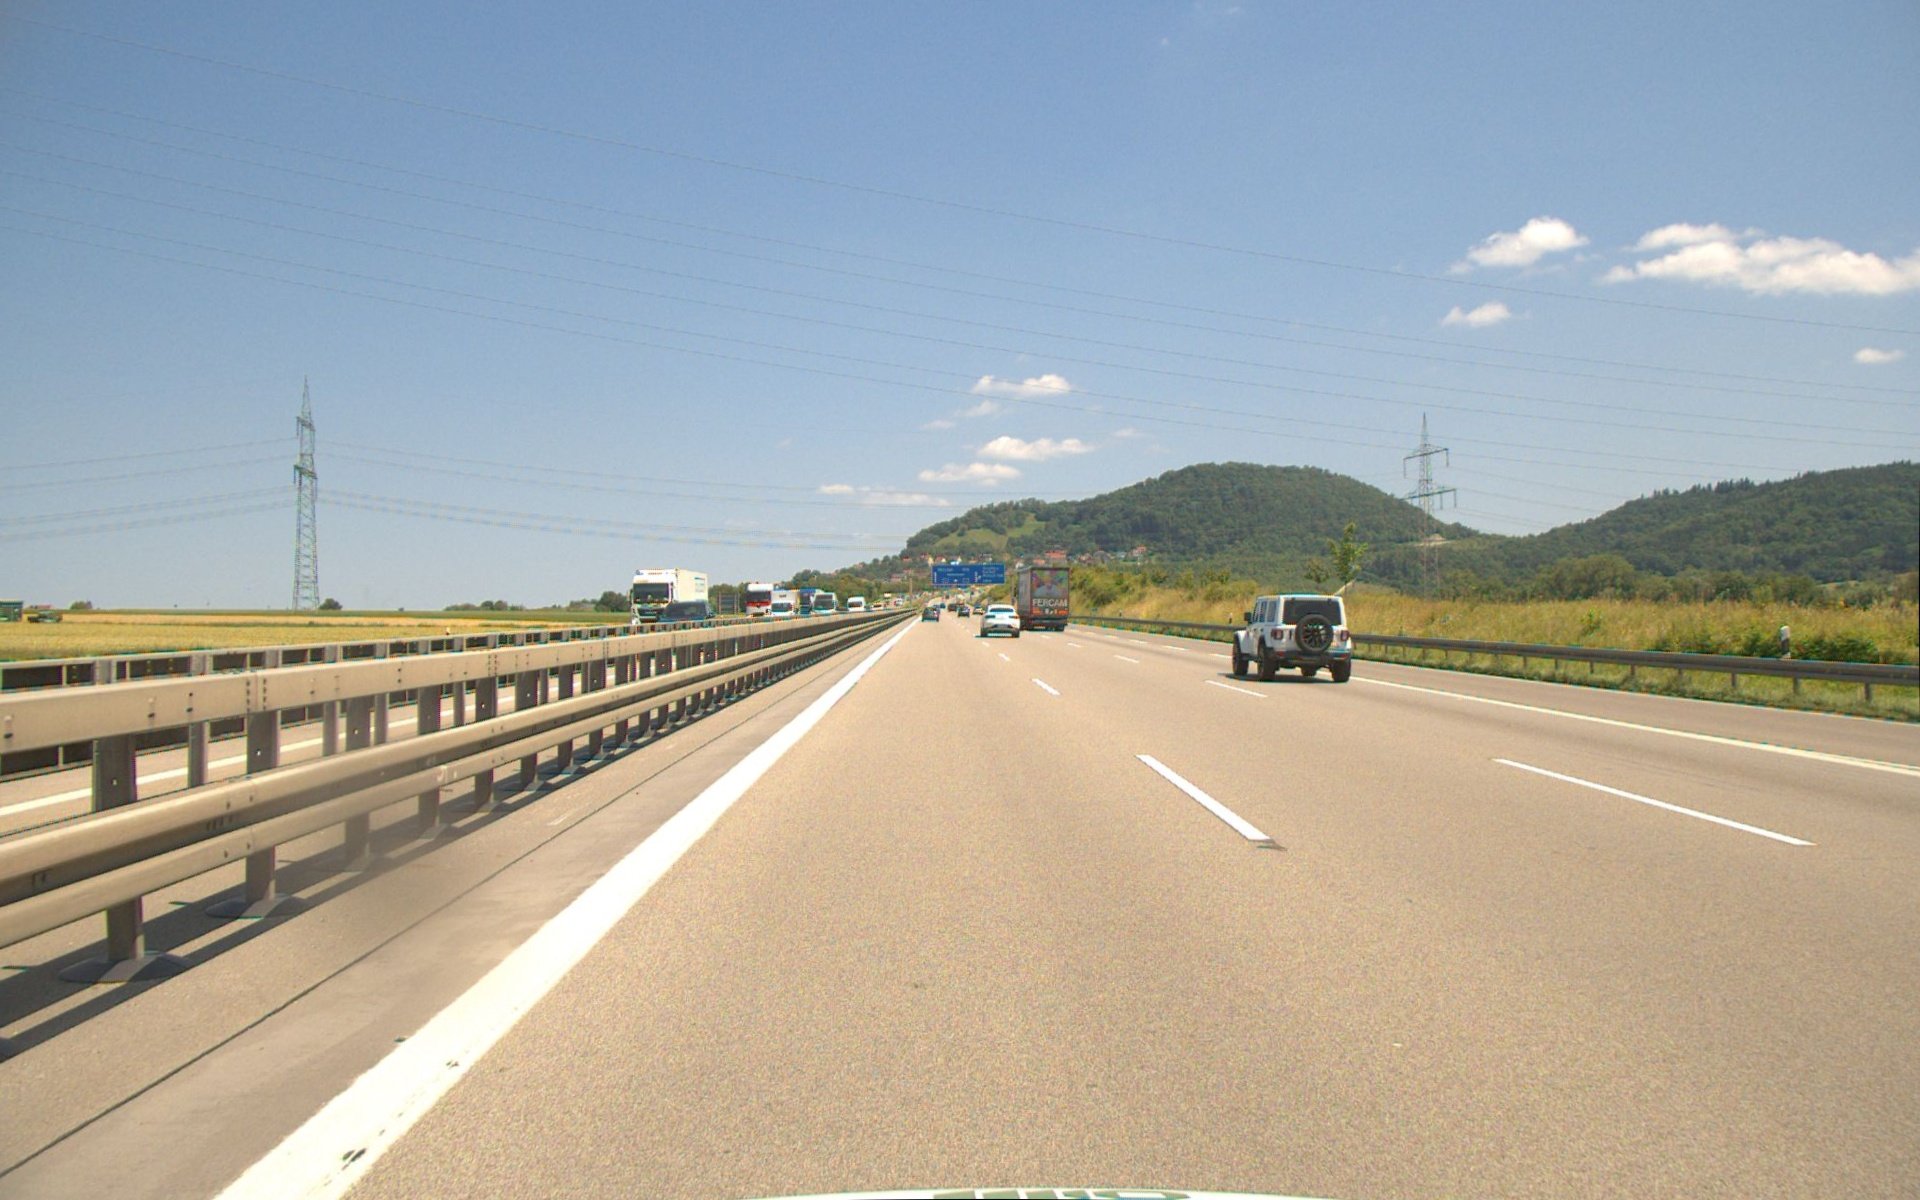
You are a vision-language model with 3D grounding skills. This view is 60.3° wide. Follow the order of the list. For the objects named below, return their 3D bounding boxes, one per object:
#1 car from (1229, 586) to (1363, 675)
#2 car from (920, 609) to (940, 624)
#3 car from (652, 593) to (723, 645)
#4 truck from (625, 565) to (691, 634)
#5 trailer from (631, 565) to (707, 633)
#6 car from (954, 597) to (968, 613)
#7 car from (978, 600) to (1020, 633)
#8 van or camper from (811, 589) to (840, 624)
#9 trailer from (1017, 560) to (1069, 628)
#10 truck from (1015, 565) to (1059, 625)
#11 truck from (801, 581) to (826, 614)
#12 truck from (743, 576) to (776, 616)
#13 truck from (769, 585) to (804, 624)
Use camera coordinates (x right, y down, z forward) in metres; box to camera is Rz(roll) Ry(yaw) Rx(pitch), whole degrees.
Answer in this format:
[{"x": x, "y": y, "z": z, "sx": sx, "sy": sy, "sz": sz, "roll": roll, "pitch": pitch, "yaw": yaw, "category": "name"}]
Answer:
[{"x": 7.437, "y": 0.643, "z": 37.044, "sx": 1.993, "sy": 1.836, "sz": 4.249, "roll": -1, "pitch": 0, "yaw": -2, "category": "car"}, {"x": -2.912, "y": 1.602, "z": 161.457, "sx": 1.953, "sy": 1.413, "sz": 3.999, "roll": 1, "pitch": 0, "yaw": 0, "category": "car"}, {"x": -9.592, "y": 0.660, "z": 58.497, "sx": 1.773, "sy": 1.669, "sz": 4.427, "roll": -2, "pitch": 0, "yaw": -1, "category": "car"}, {"x": -18.207, "y": -0.018, "z": 100.121, "sx": 2.880, "sy": 3.999, "sz": 6.475, "roll": 1, "pitch": 0, "yaw": -2, "category": "truck"}, {"x": -18.364, "y": -0.015, "z": 105.389, "sx": 2.898, "sy": 3.986, "sz": 12.889, "roll": 1, "pitch": 0, "yaw": -2, "category": "trailer"}, {"x": 0.099, "y": 0.687, "z": 228.255, "sx": 1.953, "sy": 2.049, "sz": 3.999, "roll": 1, "pitch": 0, "yaw": 0, "category": "car"}, {"x": 1.935, "y": 0.812, "z": 83.693, "sx": 1.875, "sy": 1.608, "sz": 5.229, "roll": 1, "pitch": 0, "yaw": -1, "category": "car"}, {"x": -11.095, "y": 0.524, "z": 136.652, "sx": 2.114, "sy": 2.783, "sz": 7.291, "roll": 1, "pitch": 0, "yaw": -3, "category": "van or camper"}, {"x": 5.463, "y": -0.347, "z": 111.103, "sx": 2.670, "sy": 4.227, "sz": 11.805, "roll": 1, "pitch": 0, "yaw": -1, "category": "trailer"}, {"x": 5.385, "y": -0.322, "z": 116.573, "sx": 2.696, "sy": 4.091, "sz": 6.787, "roll": 1, "pitch": 0, "yaw": -1, "category": "truck"}, {"x": -19.330, "y": -0.277, "z": 218.158, "sx": 2.763, "sy": 4.161, "sz": 7.529, "roll": 1, "pitch": 0, "yaw": -1, "category": "truck"}, {"x": -19.263, "y": -0.376, "z": 159.259, "sx": 2.664, "sy": 3.755, "sz": 6.052, "roll": 1, "pitch": 0, "yaw": -4, "category": "truck"}, {"x": -14.385, "y": 0.397, "z": 137.509, "sx": 2.204, "sy": 3.062, "sz": 7.426, "roll": -2, "pitch": 0, "yaw": -1, "category": "truck"}]
